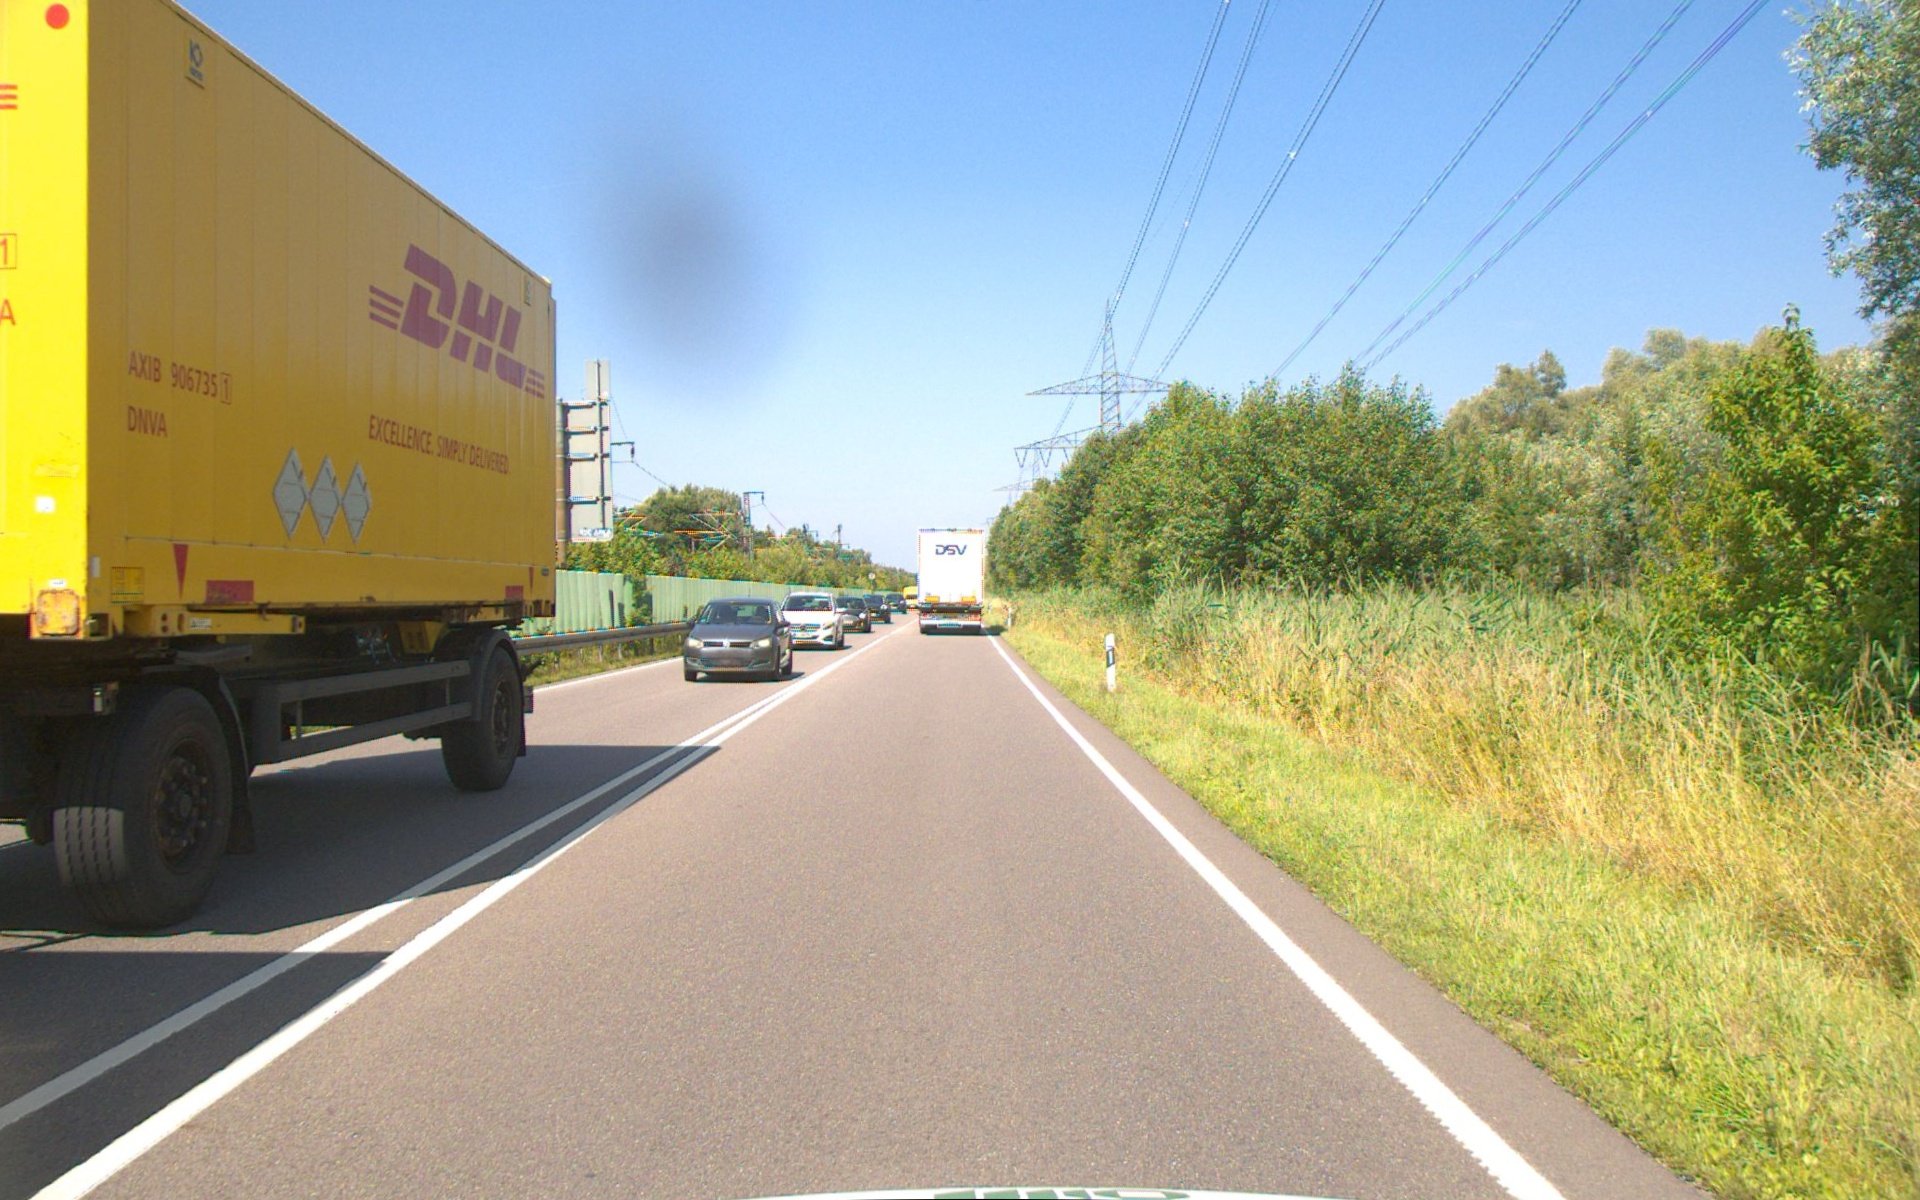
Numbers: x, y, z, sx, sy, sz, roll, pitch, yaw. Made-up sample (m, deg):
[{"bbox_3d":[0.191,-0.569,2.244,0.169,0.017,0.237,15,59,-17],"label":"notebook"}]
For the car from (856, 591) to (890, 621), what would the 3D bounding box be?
[{"bbox_3d":[-4.677,0.316,89.206,1.639,1.541,4.288,0,0,-1],"label":"car"}]

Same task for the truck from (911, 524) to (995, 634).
[{"bbox_3d":[-0.307,-0.807,68.247,3.127,4.113,12.005,0,0,-1],"label":"truck"}]

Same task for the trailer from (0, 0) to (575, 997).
[{"bbox_3d":[-4.558,-0.763,9.677,2.496,4.217,9.227,0,0,0],"label":"trailer"}]

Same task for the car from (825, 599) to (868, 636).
[{"bbox_3d":[-4.548,0.682,66.904,1.475,1.460,3.742,0,0,0],"label":"car"}]

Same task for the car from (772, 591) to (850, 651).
[{"bbox_3d":[-4.195,0.555,47.082,1.787,1.633,4.323,0,0,0],"label":"car"}]

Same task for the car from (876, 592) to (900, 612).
[{"bbox_3d":[-5.844,0.131,134.872,1.764,1.615,4.370,0,0,0],"label":"car"}]

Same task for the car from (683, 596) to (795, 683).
[{"bbox_3d":[-3.943,0.667,29.978,1.581,1.466,3.794,0,0,-1],"label":"car"}]
